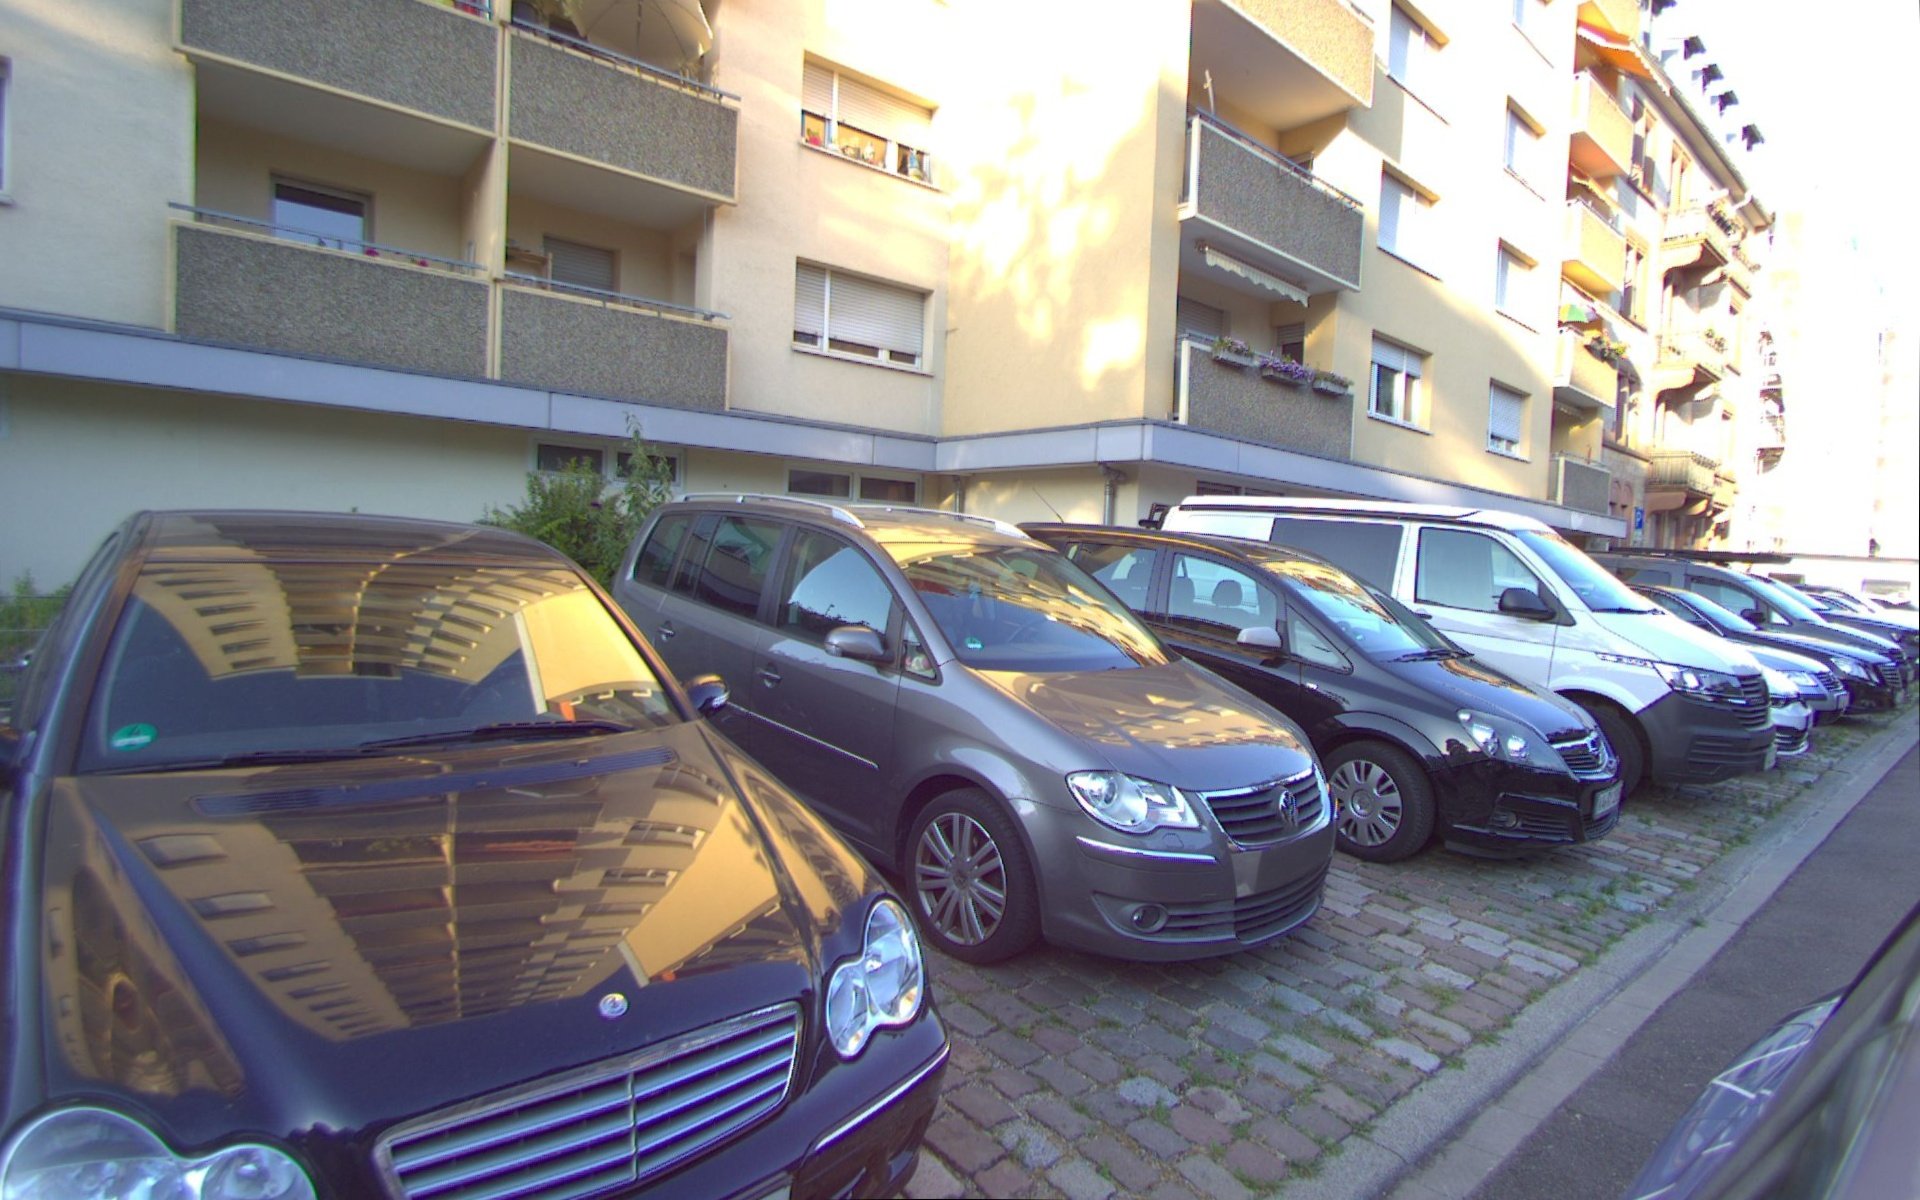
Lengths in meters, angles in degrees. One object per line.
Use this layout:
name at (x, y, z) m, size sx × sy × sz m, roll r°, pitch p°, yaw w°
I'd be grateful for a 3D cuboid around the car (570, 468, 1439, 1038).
car at (-0.219, 0.227, 5.201) m, size 1.815 × 1.680 × 4.412 m, roll -2°, pitch 7°, yaw -43°

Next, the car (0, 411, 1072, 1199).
car at (-1.930, 0.380, 3.258) m, size 1.815 × 1.549 × 4.410 m, roll -2°, pitch 6°, yaw -43°

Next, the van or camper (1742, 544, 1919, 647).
van or camper at (25.398, -0.101, 27.563) m, size 2.014 × 2.534 × 6.074 m, roll 0°, pitch 4°, yaw -41°

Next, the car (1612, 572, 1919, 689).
car at (14.523, 0.423, 18.102) m, size 1.813 × 1.572 × 4.416 m, roll -2°, pitch 5°, yaw -39°

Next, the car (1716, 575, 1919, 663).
car at (19.616, 0.377, 22.285) m, size 1.813 × 1.572 × 4.415 m, roll -2°, pitch 6°, yaw -40°

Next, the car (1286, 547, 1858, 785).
car at (5.699, 0.393, 9.931) m, size 1.814 × 1.650 × 4.413 m, roll -2°, pitch 6°, yaw -41°

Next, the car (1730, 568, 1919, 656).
car at (21.375, 0.264, 24.113) m, size 1.812 × 1.769 × 4.418 m, roll 0°, pitch 4°, yaw -37°

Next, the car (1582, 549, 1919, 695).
car at (12.814, 0.241, 16.139) m, size 1.814 × 1.885 × 4.522 m, roll 0°, pitch 4°, yaw -41°

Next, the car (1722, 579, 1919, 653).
car at (22.758, 0.362, 26.314) m, size 1.813 × 1.638 × 4.414 m, roll -2°, pitch 4°, yaw -40°

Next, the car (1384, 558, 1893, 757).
car at (7.392, 0.429, 11.435) m, size 1.814 × 1.611 × 4.413 m, roll -2°, pitch 6°, yaw -41°

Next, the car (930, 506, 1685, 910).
car at (1.908, 0.316, 6.684) m, size 1.752 × 1.680 × 4.334 m, roll -2°, pitch 7°, yaw -43°

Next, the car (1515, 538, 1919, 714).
car at (10.914, 0.189, 14.662) m, size 1.814 × 2.004 × 4.647 m, roll -2°, pitch 6°, yaw -41°

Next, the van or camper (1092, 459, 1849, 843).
van or camper at (3.801, 0.043, 8.475) m, size 2.006 × 2.192 × 5.144 m, roll 0°, pitch 7°, yaw -43°

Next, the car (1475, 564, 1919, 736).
car at (9.258, 0.450, 12.896) m, size 1.814 × 1.581 × 4.413 m, roll -2°, pitch 6°, yaw -41°
